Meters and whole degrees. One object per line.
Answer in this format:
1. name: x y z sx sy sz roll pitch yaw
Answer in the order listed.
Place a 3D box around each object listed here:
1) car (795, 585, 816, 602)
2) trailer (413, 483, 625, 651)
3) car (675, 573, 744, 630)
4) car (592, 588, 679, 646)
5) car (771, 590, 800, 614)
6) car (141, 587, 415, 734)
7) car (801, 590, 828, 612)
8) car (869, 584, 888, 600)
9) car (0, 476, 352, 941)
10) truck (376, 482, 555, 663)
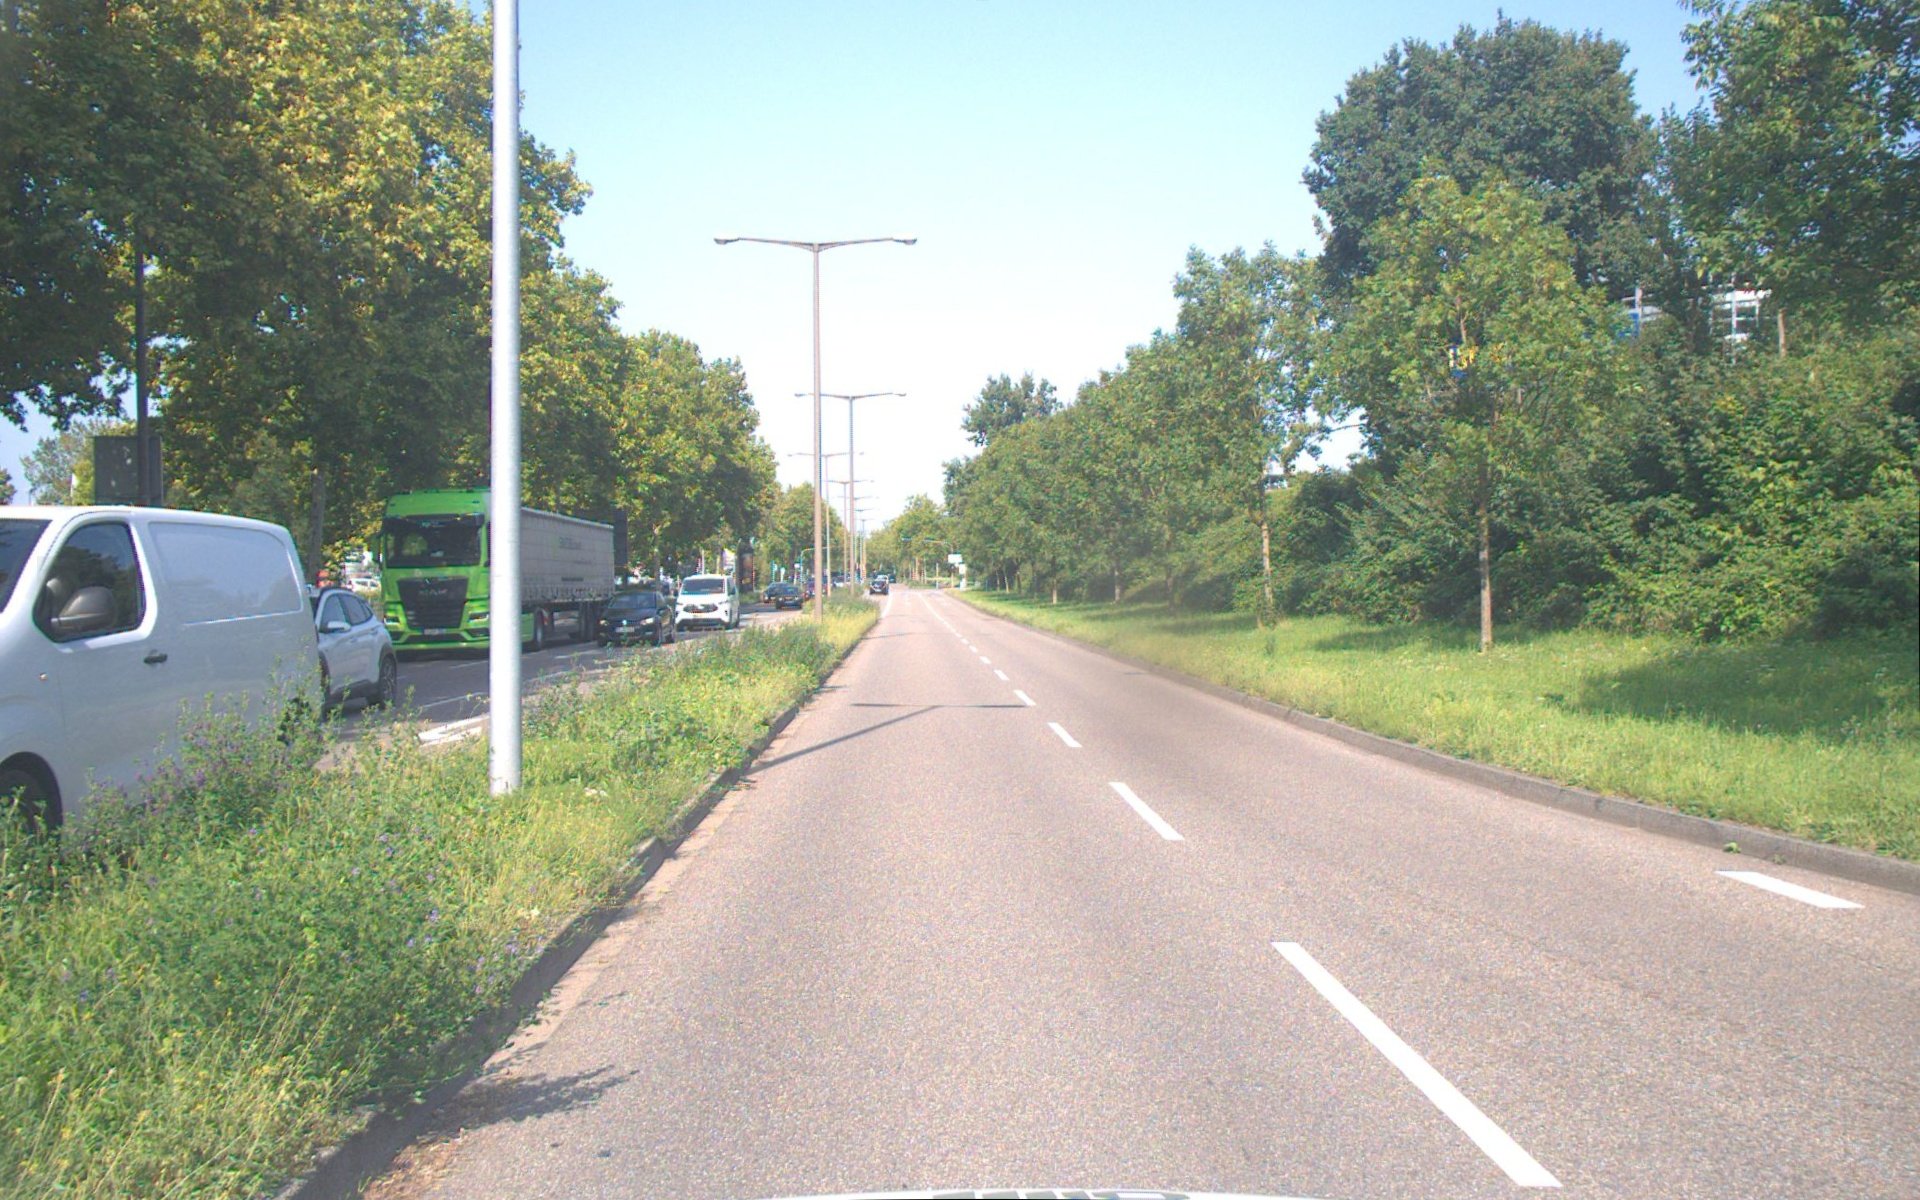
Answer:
1. car: -16.547 -0.660 176.928 1.953 1.790 4.475 -1 0 -2
2. trailer: -11.868 -0.806 46.174 2.580 3.888 13.806 -2 0 -2
3. car: -9.096 0.045 60.461 1.953 1.988 5.034 -1 0 -2
4. car: -8.683 0.434 44.491 1.581 1.423 3.857 -2 0 -1
5. car: -11.642 0.116 110.672 1.712 1.505 4.583 -2 0 -4
6. car: -7.932 0.635 19.662 1.660 1.555 4.138 0 0 -2
7. car: -11.983 0.041 136.306 1.914 1.754 4.585 -1 0 -2
8. car: -8.200 -0.806 166.343 1.657 1.512 4.001 -1 0 1
9. car: -4.945 0.461 8.595 1.873 1.896 4.888 -2 0 -2
10. truck: -11.625 -0.619 39.439 2.555 3.886 5.889 -2 0 -2
